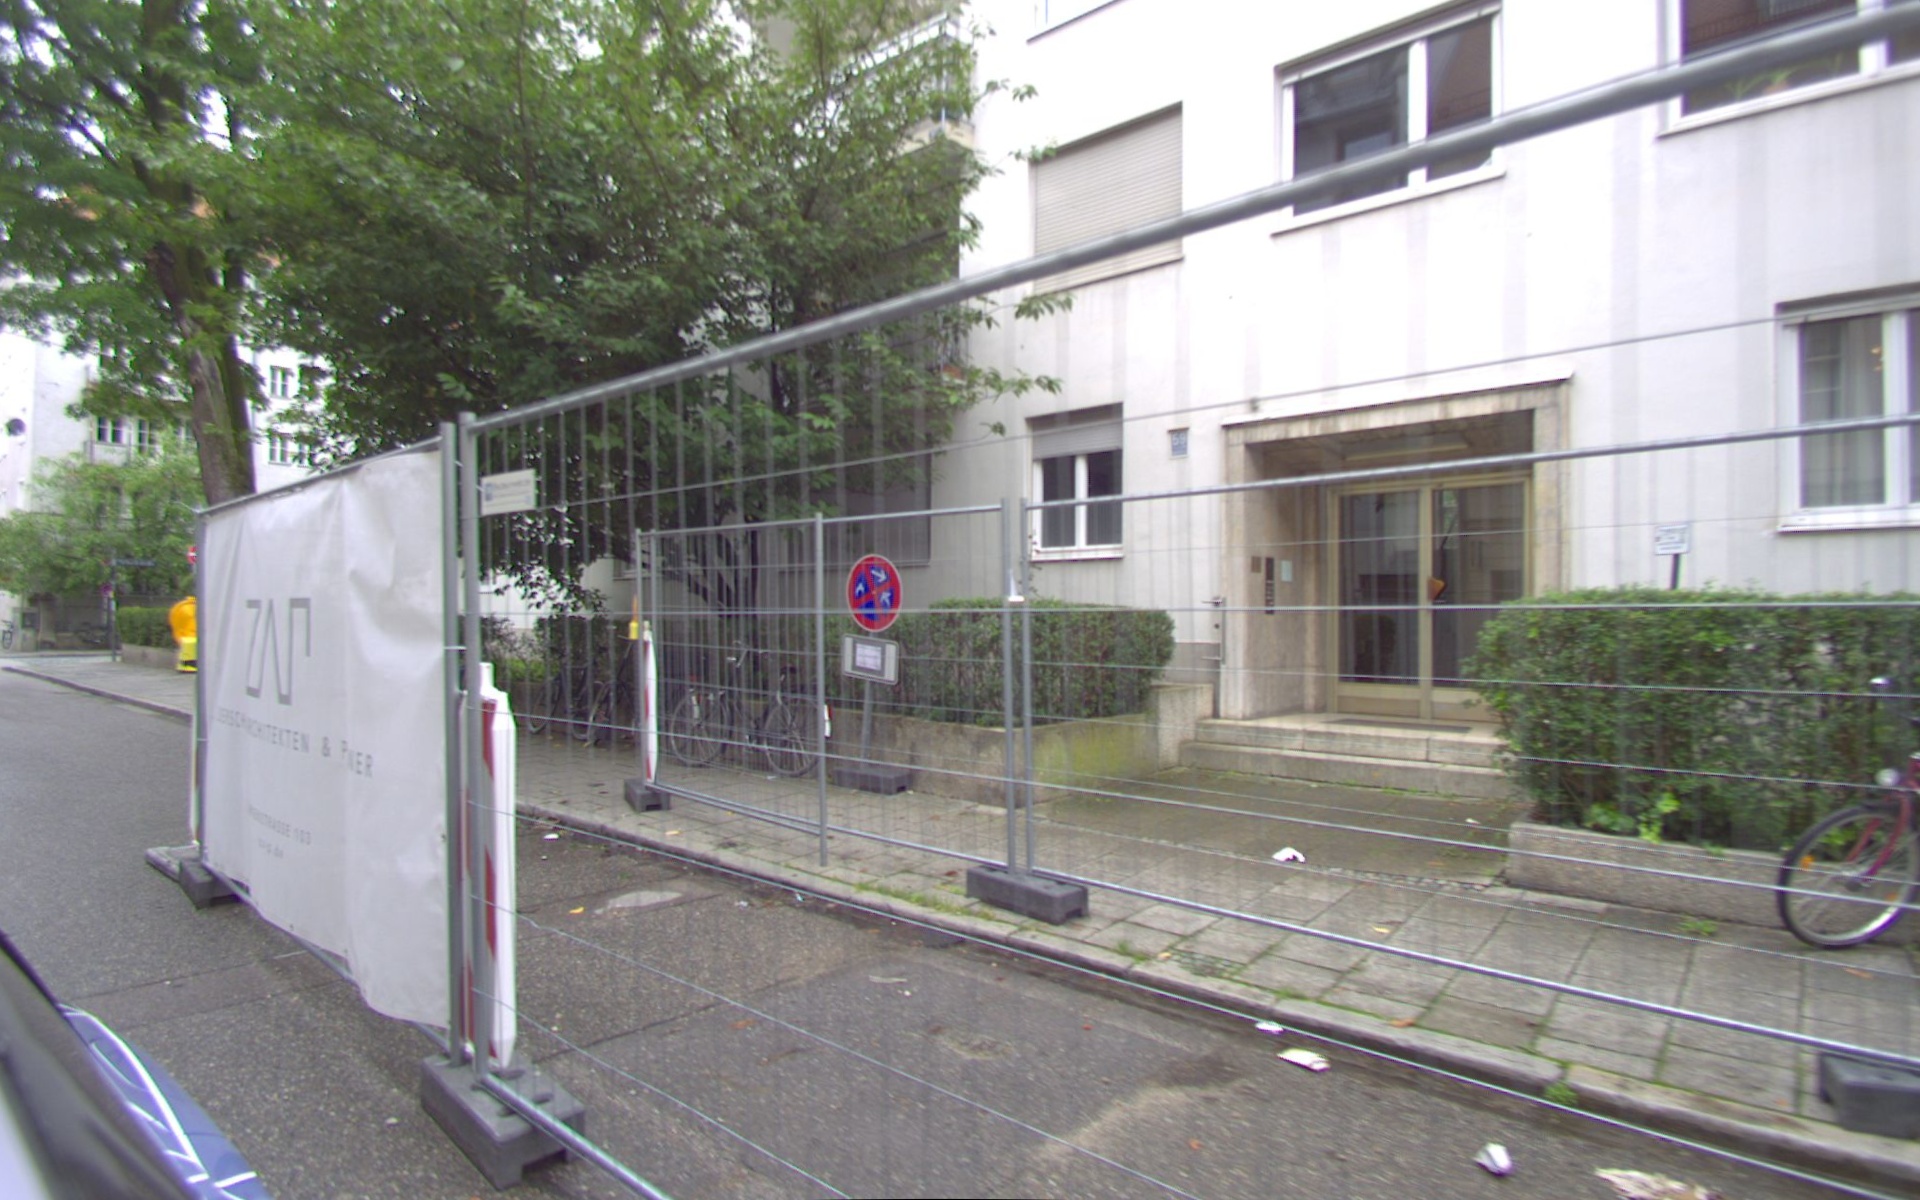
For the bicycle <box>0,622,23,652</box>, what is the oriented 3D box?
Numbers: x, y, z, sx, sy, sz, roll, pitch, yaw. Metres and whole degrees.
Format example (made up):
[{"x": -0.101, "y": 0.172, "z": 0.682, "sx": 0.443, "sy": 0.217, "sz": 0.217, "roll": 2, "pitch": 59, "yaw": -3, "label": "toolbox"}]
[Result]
[{"x": -36.135, "y": 1.382, "z": 38.518, "sx": 1.701, "sy": 1.103, "sz": 0.426, "roll": -1, "pitch": 0, "yaw": 39, "label": "bicycle"}]

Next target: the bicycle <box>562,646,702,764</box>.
[{"x": -3.288, "y": 0.995, "z": 10.048, "sx": 1.853, "sy": 0.986, "sz": 0.439, "roll": 0, "pitch": 2, "yaw": 42, "label": "bicycle"}]

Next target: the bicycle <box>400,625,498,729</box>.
[{"x": -6.390, "y": 0.919, "z": 12.613, "sx": 1.698, "sy": 1.160, "sz": 0.483, "roll": 0, "pitch": 2, "yaw": 42, "label": "bicycle"}]

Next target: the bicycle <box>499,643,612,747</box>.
[{"x": -4.452, "y": 1.006, "z": 11.087, "sx": 1.698, "sy": 0.986, "sz": 0.431, "roll": 0, "pitch": 2, "yaw": 42, "label": "bicycle"}]

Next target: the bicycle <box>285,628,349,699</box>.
[{"x": -10.390, "y": 1.000, "z": 16.328, "sx": 1.779, "sy": 1.080, "sz": 0.343, "roll": -1, "pitch": 2, "yaw": 41, "label": "bicycle"}]

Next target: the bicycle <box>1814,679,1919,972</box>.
[{"x": 4.152, "y": 0.874, "z": 3.667, "sx": 1.597, "sy": 1.071, "sz": 0.373, "roll": -1, "pitch": 4, "yaw": 42, "label": "bicycle"}]

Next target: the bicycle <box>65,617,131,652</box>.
[{"x": -31.893, "y": 1.282, "z": 37.478, "sx": 0.431, "sy": 1.270, "sz": 1.789, "roll": -1, "pitch": -2, "yaw": 39, "label": "bicycle"}]

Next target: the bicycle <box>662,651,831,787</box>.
[{"x": -1.896, "y": 0.985, "z": 8.805, "sx": 1.815, "sy": 0.986, "sz": 0.439, "roll": 0, "pitch": 2, "yaw": 42, "label": "bicycle"}]

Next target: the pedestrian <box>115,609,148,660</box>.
[{"x": -27.939, "y": 1.152, "z": 34.131, "sx": 0.858, "sy": 1.690, "sz": 0.683, "roll": -1, "pitch": 0, "yaw": 39, "label": "pedestrian"}]
